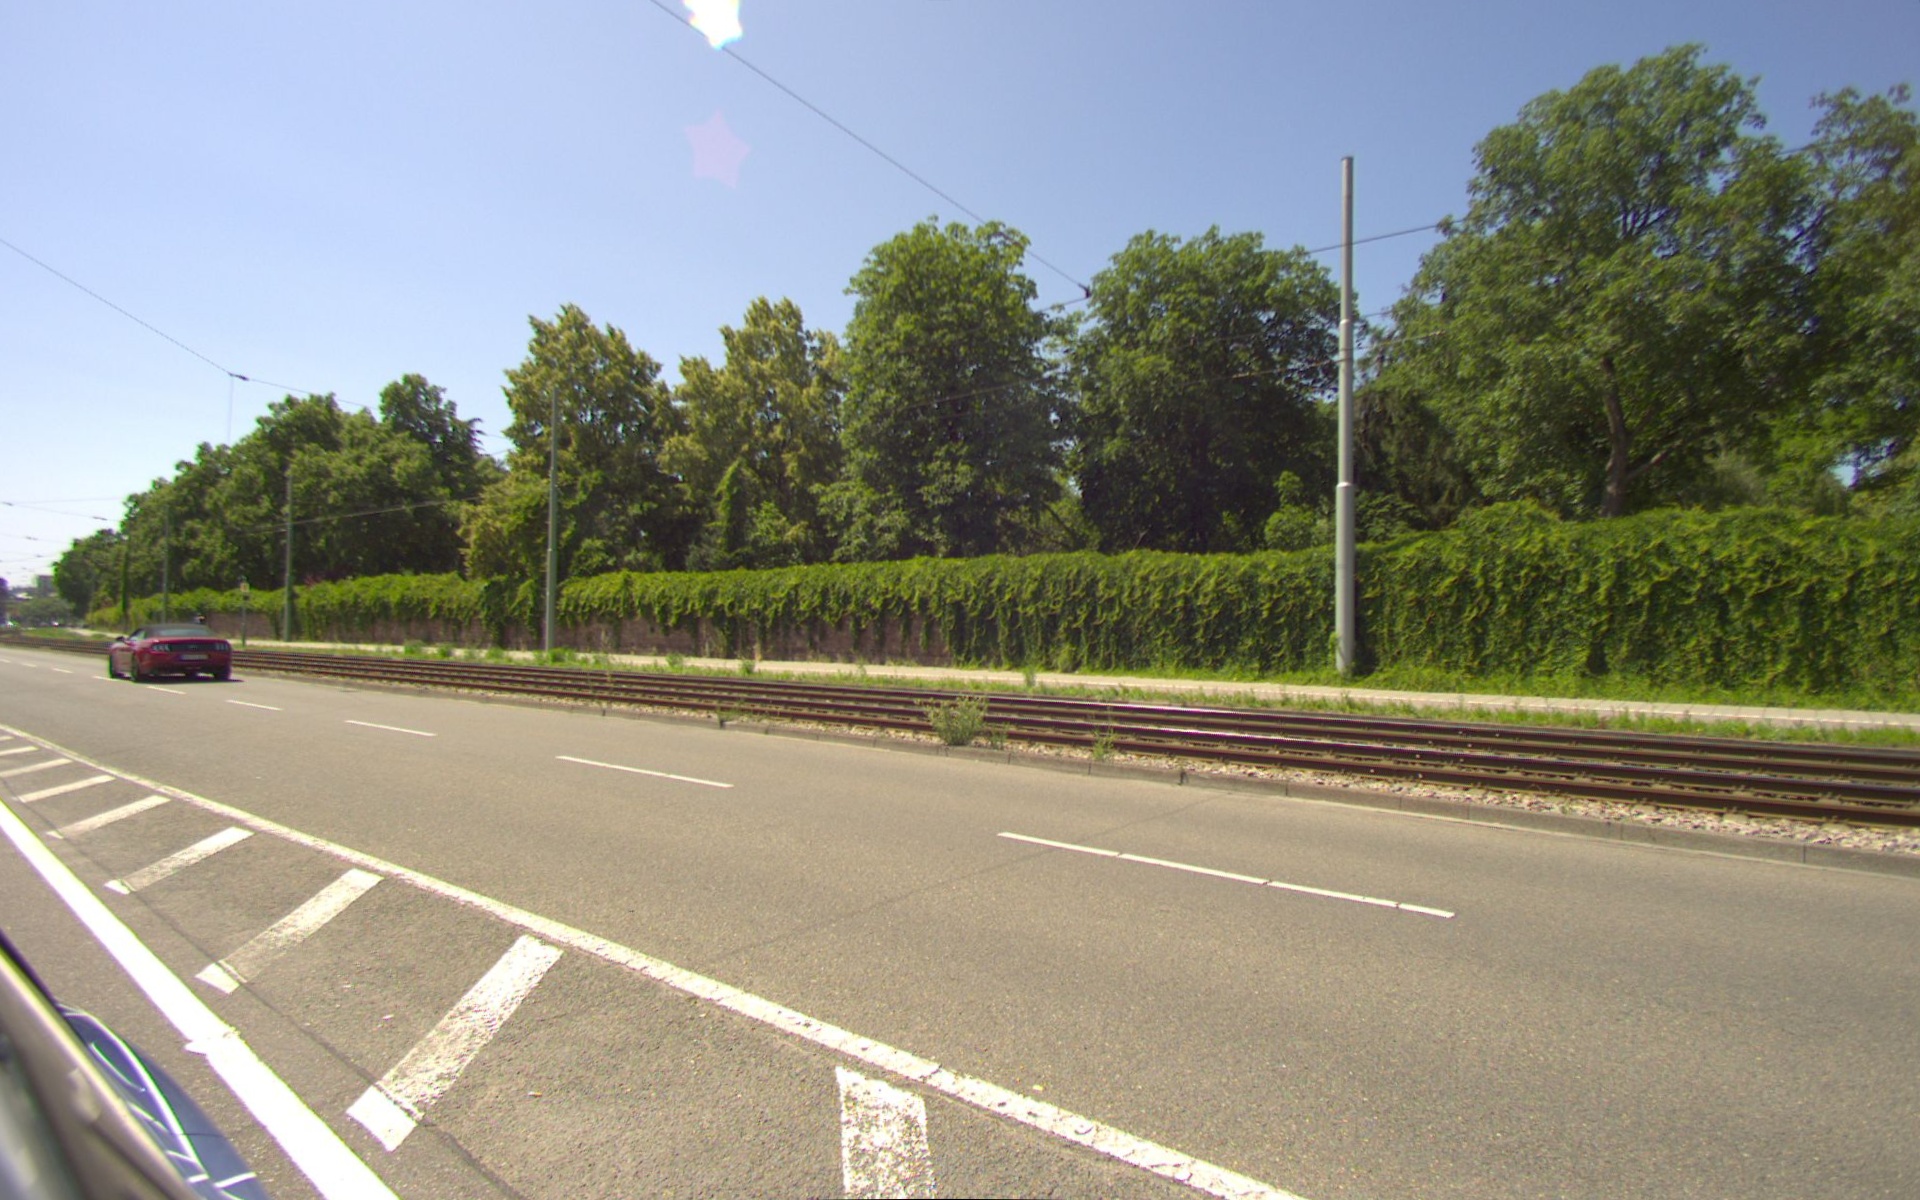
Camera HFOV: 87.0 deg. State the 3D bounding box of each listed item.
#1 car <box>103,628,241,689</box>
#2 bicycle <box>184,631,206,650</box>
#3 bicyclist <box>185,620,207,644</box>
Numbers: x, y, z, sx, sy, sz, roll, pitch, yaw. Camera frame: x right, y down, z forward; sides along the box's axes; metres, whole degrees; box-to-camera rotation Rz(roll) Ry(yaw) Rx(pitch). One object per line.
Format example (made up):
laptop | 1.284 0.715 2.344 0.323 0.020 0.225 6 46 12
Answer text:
car | -19.774 1.388 25.320 4.537 1.369 1.963 -1 -2 42
bicycle | -48.169 2.535 63.733 0.818 1.165 2.688 1 -2 -43
bicyclist | -48.050 2.009 63.610 0.983 1.497 1.001 1 -2 -44
